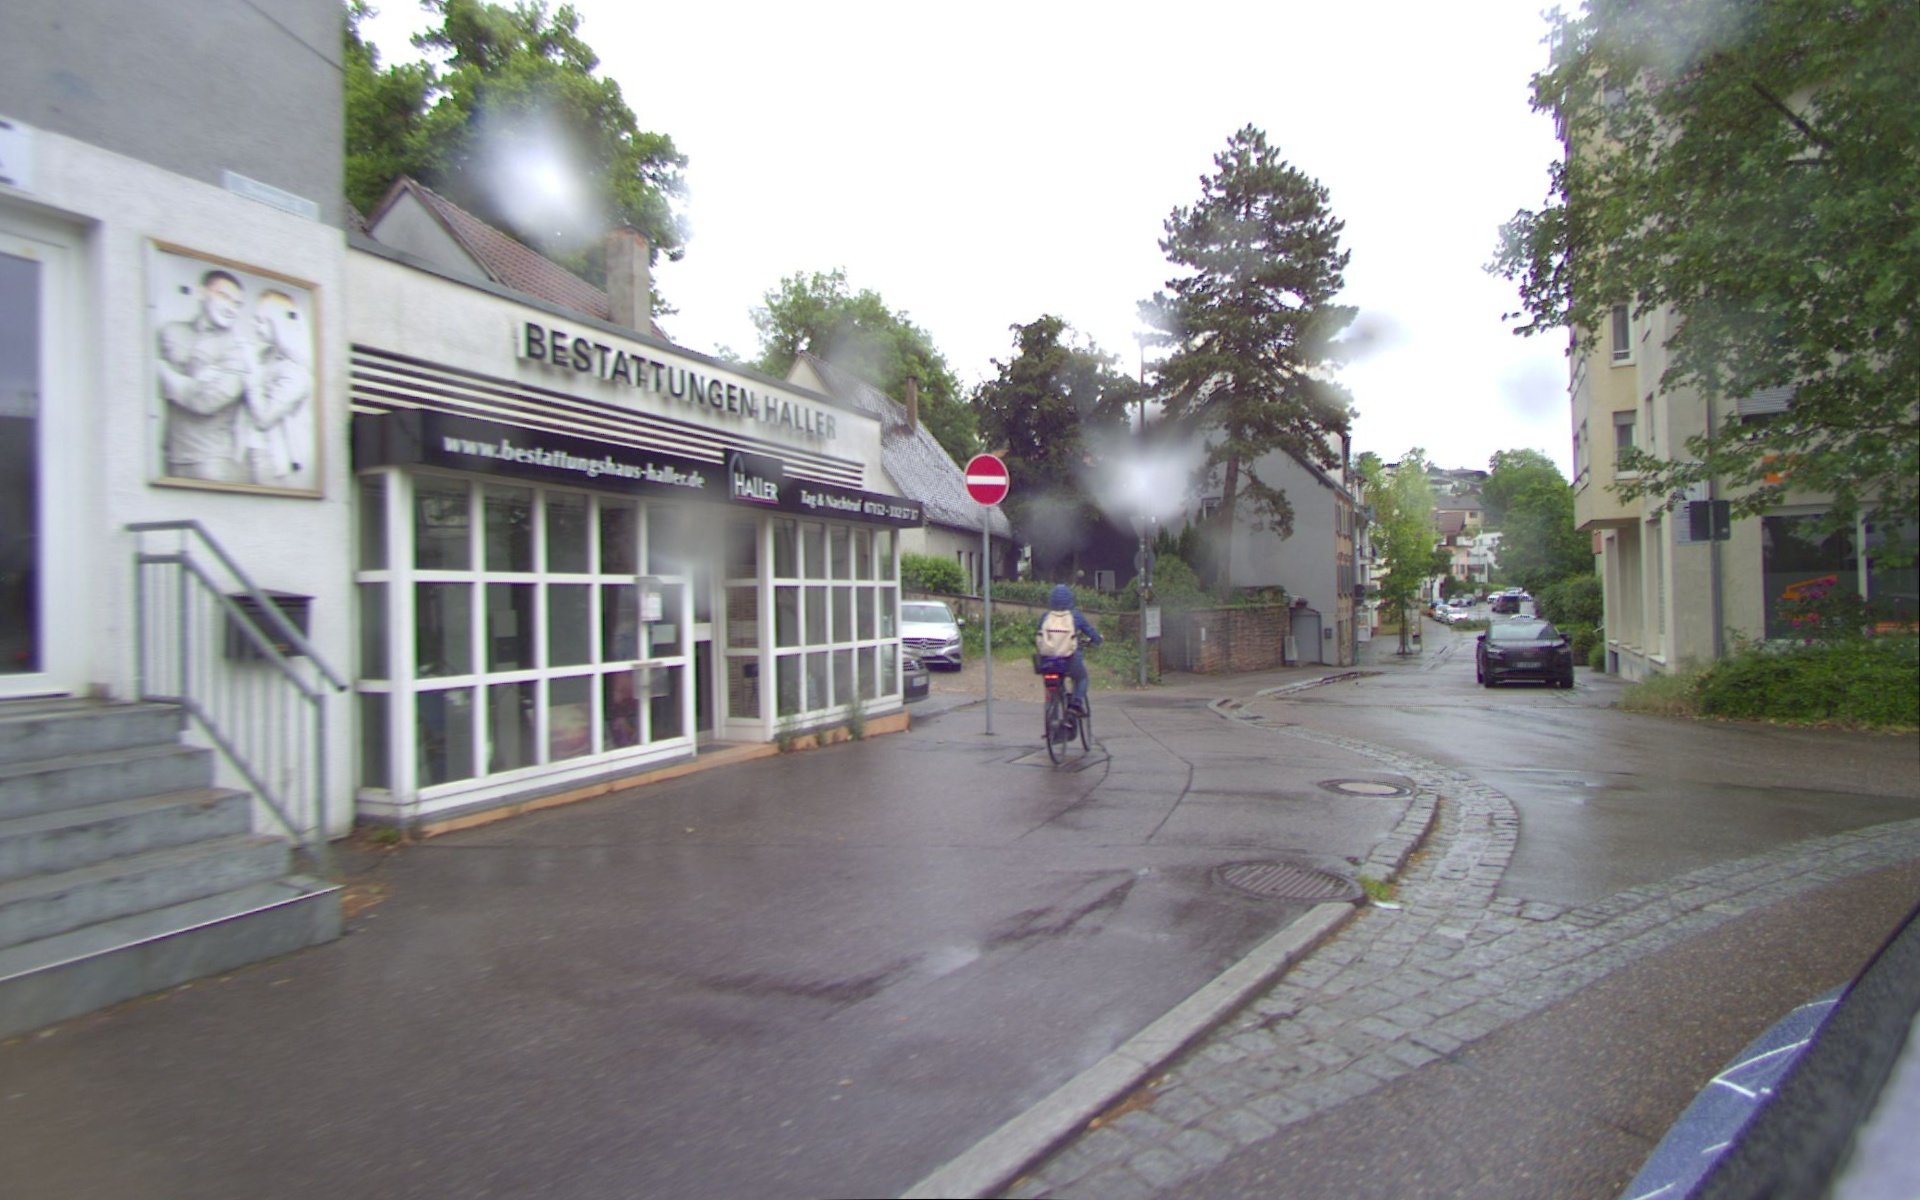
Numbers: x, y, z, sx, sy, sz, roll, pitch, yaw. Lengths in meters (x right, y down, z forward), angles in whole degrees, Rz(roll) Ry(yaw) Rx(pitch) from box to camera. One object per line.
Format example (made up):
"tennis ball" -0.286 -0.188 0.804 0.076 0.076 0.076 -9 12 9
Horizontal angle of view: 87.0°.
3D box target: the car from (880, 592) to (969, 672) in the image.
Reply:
"car" -0.867 0.648 22.879 1.797 1.492 4.004 1 2 -4

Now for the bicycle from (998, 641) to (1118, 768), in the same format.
"bicycle" 0.992 0.935 9.721 0.753 1.048 2.069 -1 -2 17

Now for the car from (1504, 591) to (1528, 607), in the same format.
"car" 58.841 -0.133 107.155 1.980 1.594 3.963 0 -2 26

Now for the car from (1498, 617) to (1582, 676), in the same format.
"car" 16.991 1.334 29.718 1.983 1.594 3.957 0 -2 30

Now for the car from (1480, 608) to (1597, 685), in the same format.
"car" 13.934 1.071 24.272 1.988 1.672 3.947 -1 -2 36

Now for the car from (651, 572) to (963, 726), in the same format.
"car" -2.194 0.625 14.653 3.955 1.794 1.984 4 0 23

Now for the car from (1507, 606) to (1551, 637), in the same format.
"car" 30.817 1.176 54.814 1.983 1.594 3.957 -1 -2 30

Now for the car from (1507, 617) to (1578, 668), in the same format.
"car" 19.752 1.403 34.383 1.983 1.594 3.957 0 -2 30

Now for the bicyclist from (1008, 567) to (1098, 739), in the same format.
"bicyclist" 0.900 0.481 9.640 0.676 1.537 1.025 -1 -1 16
